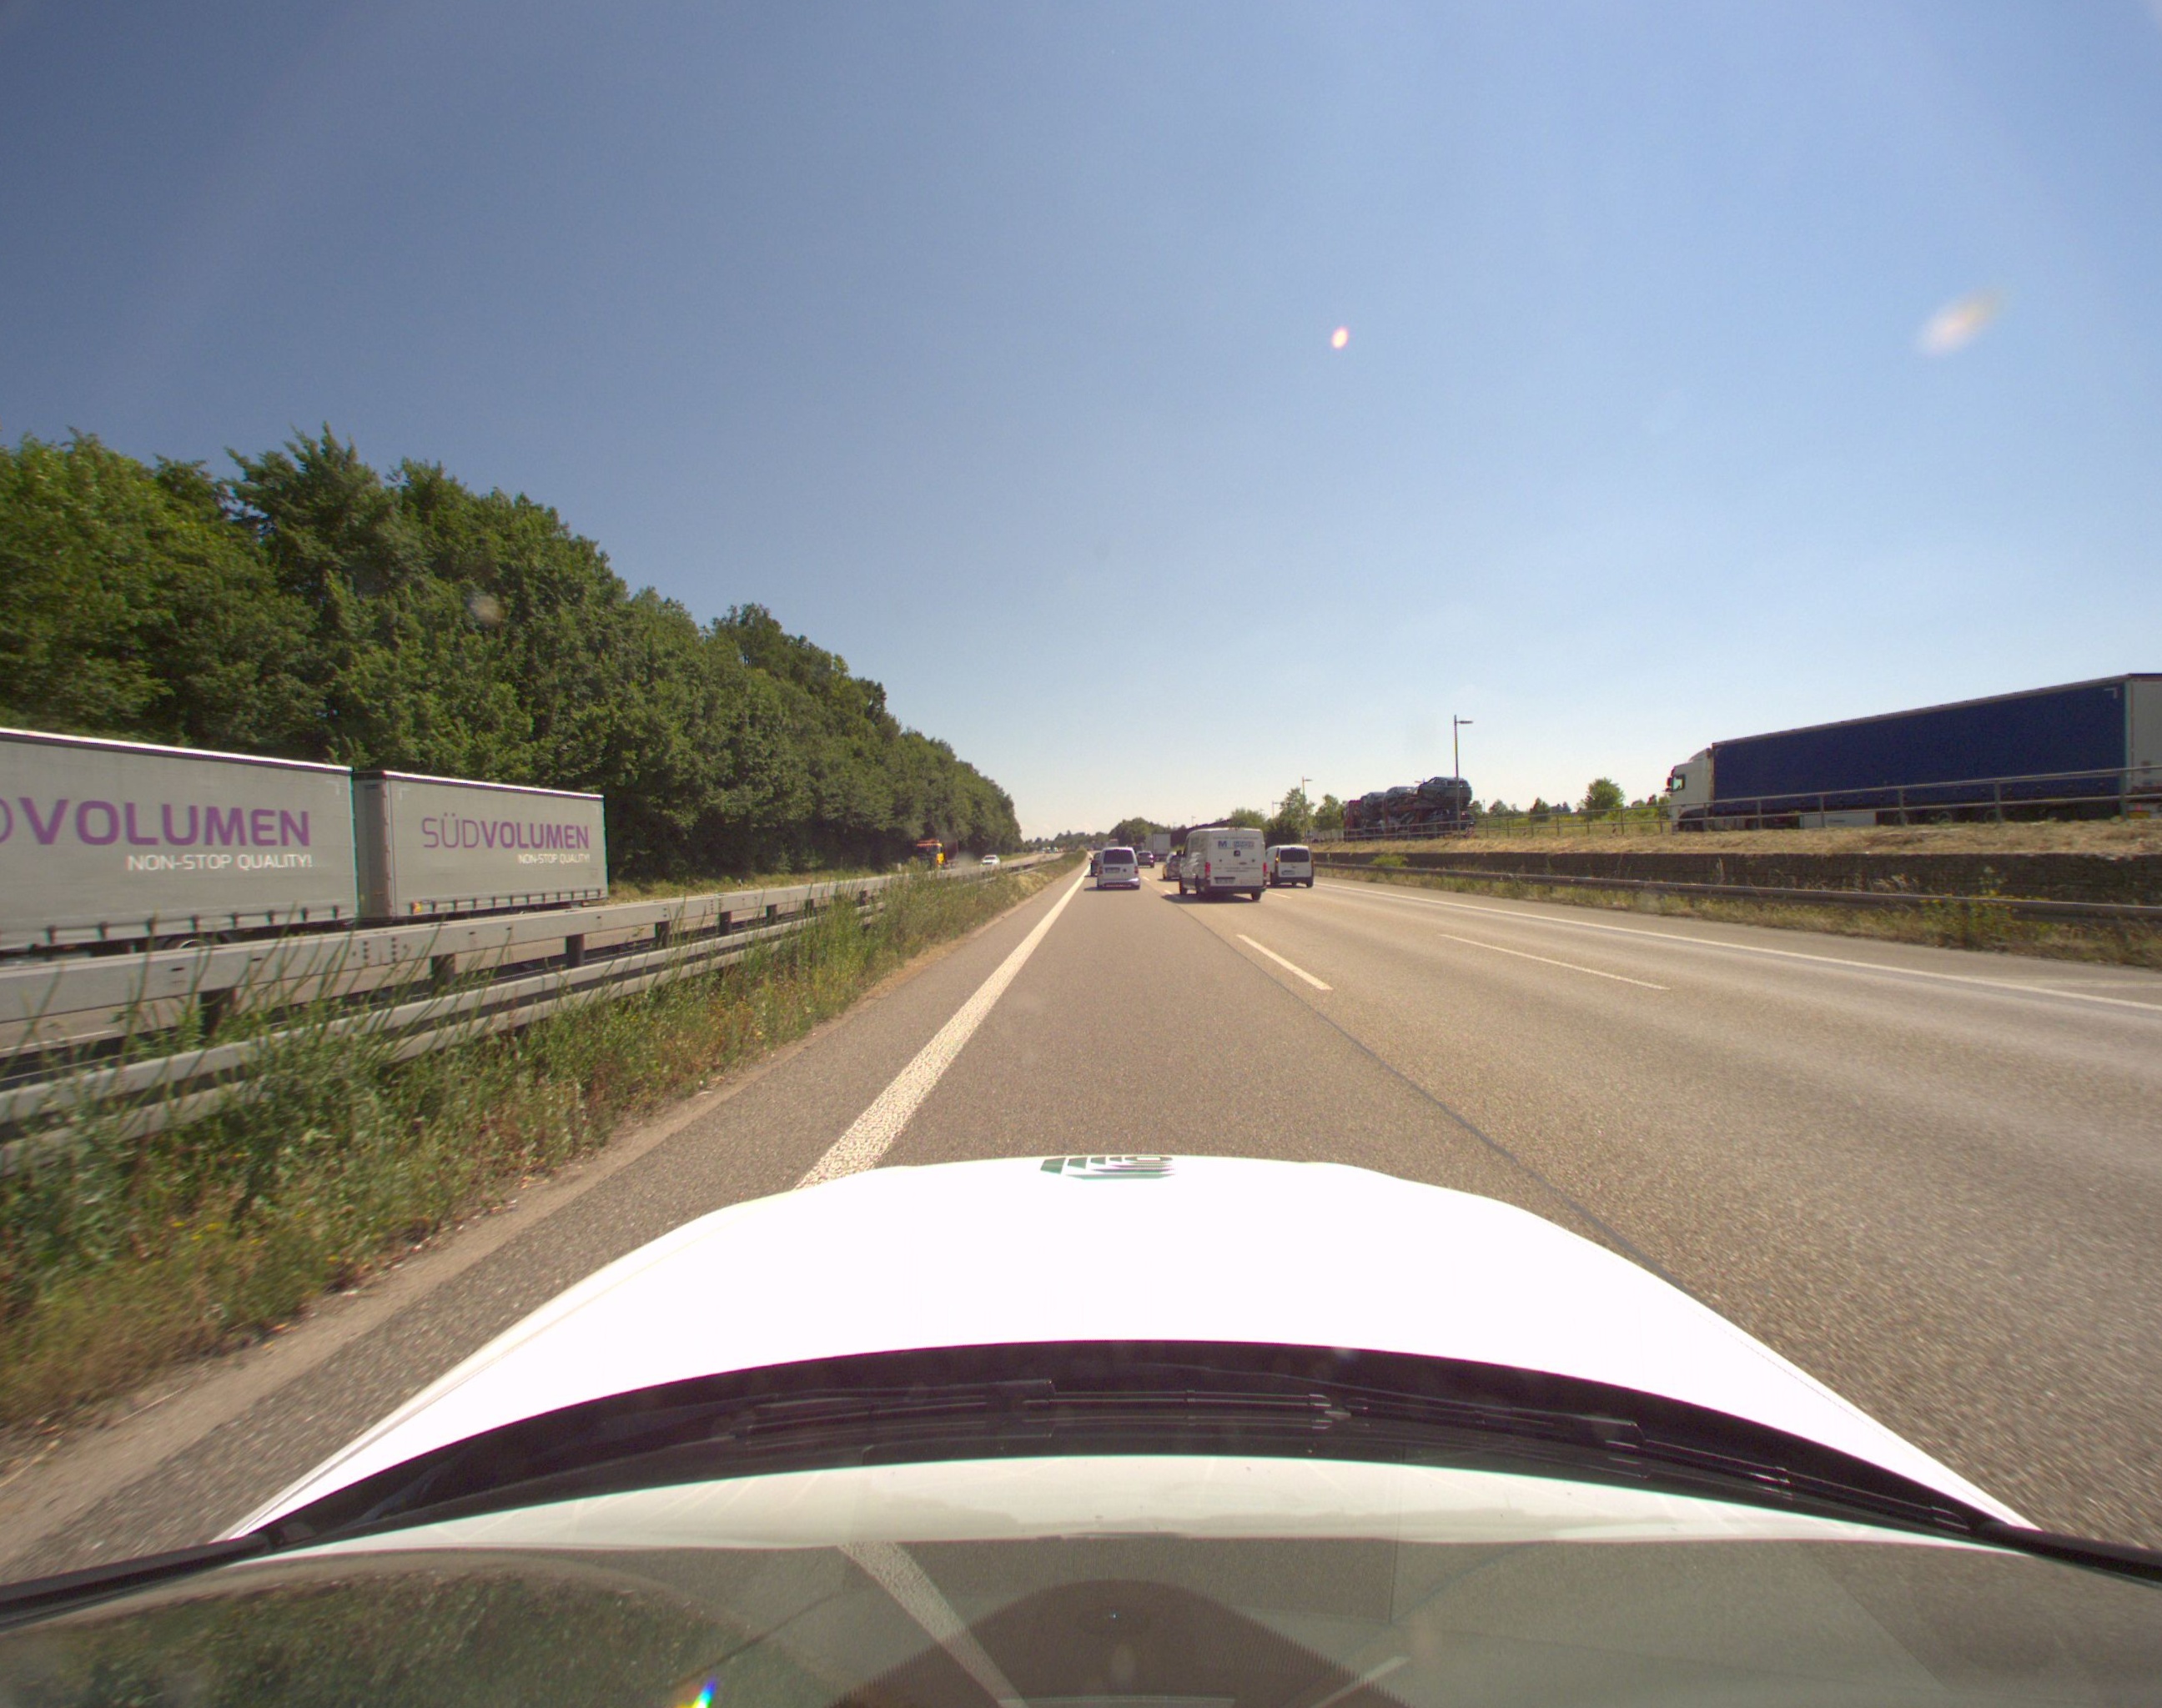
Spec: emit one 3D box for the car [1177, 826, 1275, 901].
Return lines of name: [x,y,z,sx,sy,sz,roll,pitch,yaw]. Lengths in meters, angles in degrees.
car: [4.691,0.303,27.214,2.176,2.254,5.359,0,0,-2]

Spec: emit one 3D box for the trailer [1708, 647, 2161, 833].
trailer: [27.460,-2.965,26.954,3.040,4.083,14.267,0,0,3]

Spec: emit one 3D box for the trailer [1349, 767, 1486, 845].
trailer: [23.076,-2.975,57.748,2.596,4.258,18.427,0,0,2]

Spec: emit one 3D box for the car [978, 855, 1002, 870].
car: [-10.779,1.021,96.654,1.986,1.670,5.613,-4,-1,1]

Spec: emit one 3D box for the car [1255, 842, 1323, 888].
car: [9.034,0.479,35.758,1.943,1.838,4.179,-2,-1,1]

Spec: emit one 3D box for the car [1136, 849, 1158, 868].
car: [6.265,0.426,77.279,1.894,1.672,4.092,-2,-1,3]

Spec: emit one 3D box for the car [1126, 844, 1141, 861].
car: [6.056,-0.128,94.792,1.667,1.891,4.092,-2,-1,3]

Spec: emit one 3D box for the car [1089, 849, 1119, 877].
car: [1.510,0.586,52.572,1.737,1.701,4.092,-2,-1,3]

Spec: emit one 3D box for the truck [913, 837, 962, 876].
truck: [-14.492,0.274,83.073,2.772,3.738,11.160,0,0,1]

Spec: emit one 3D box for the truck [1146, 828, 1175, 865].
truck: [11.440,-0.994,118.416,3.772,5.000,12.528,0,0,3]

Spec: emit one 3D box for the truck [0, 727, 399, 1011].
truck: [-16.889,0.261,12.409,3.442,3.994,11.123,-2,0,0]

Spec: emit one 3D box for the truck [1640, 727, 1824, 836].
truck: [27.859,-2.922,35.328,3.040,4.083,6.402,0,-1,3]

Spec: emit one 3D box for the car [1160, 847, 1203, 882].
car: [5.366,0.540,44.069,1.968,1.733,4.092,-2,-1,3]

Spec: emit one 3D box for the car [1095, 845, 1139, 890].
car: [1.564,0.567,34.878,1.737,1.764,4.092,-2,-1,3]

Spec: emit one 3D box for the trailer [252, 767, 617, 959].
trailer: [-16.641,0.225,22.097,3.442,4.279,7.970,0,0,0]

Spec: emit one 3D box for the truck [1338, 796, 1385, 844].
truck: [23.385,-2.752,68.099,2.593,3.827,4.001,0,-1,1]
